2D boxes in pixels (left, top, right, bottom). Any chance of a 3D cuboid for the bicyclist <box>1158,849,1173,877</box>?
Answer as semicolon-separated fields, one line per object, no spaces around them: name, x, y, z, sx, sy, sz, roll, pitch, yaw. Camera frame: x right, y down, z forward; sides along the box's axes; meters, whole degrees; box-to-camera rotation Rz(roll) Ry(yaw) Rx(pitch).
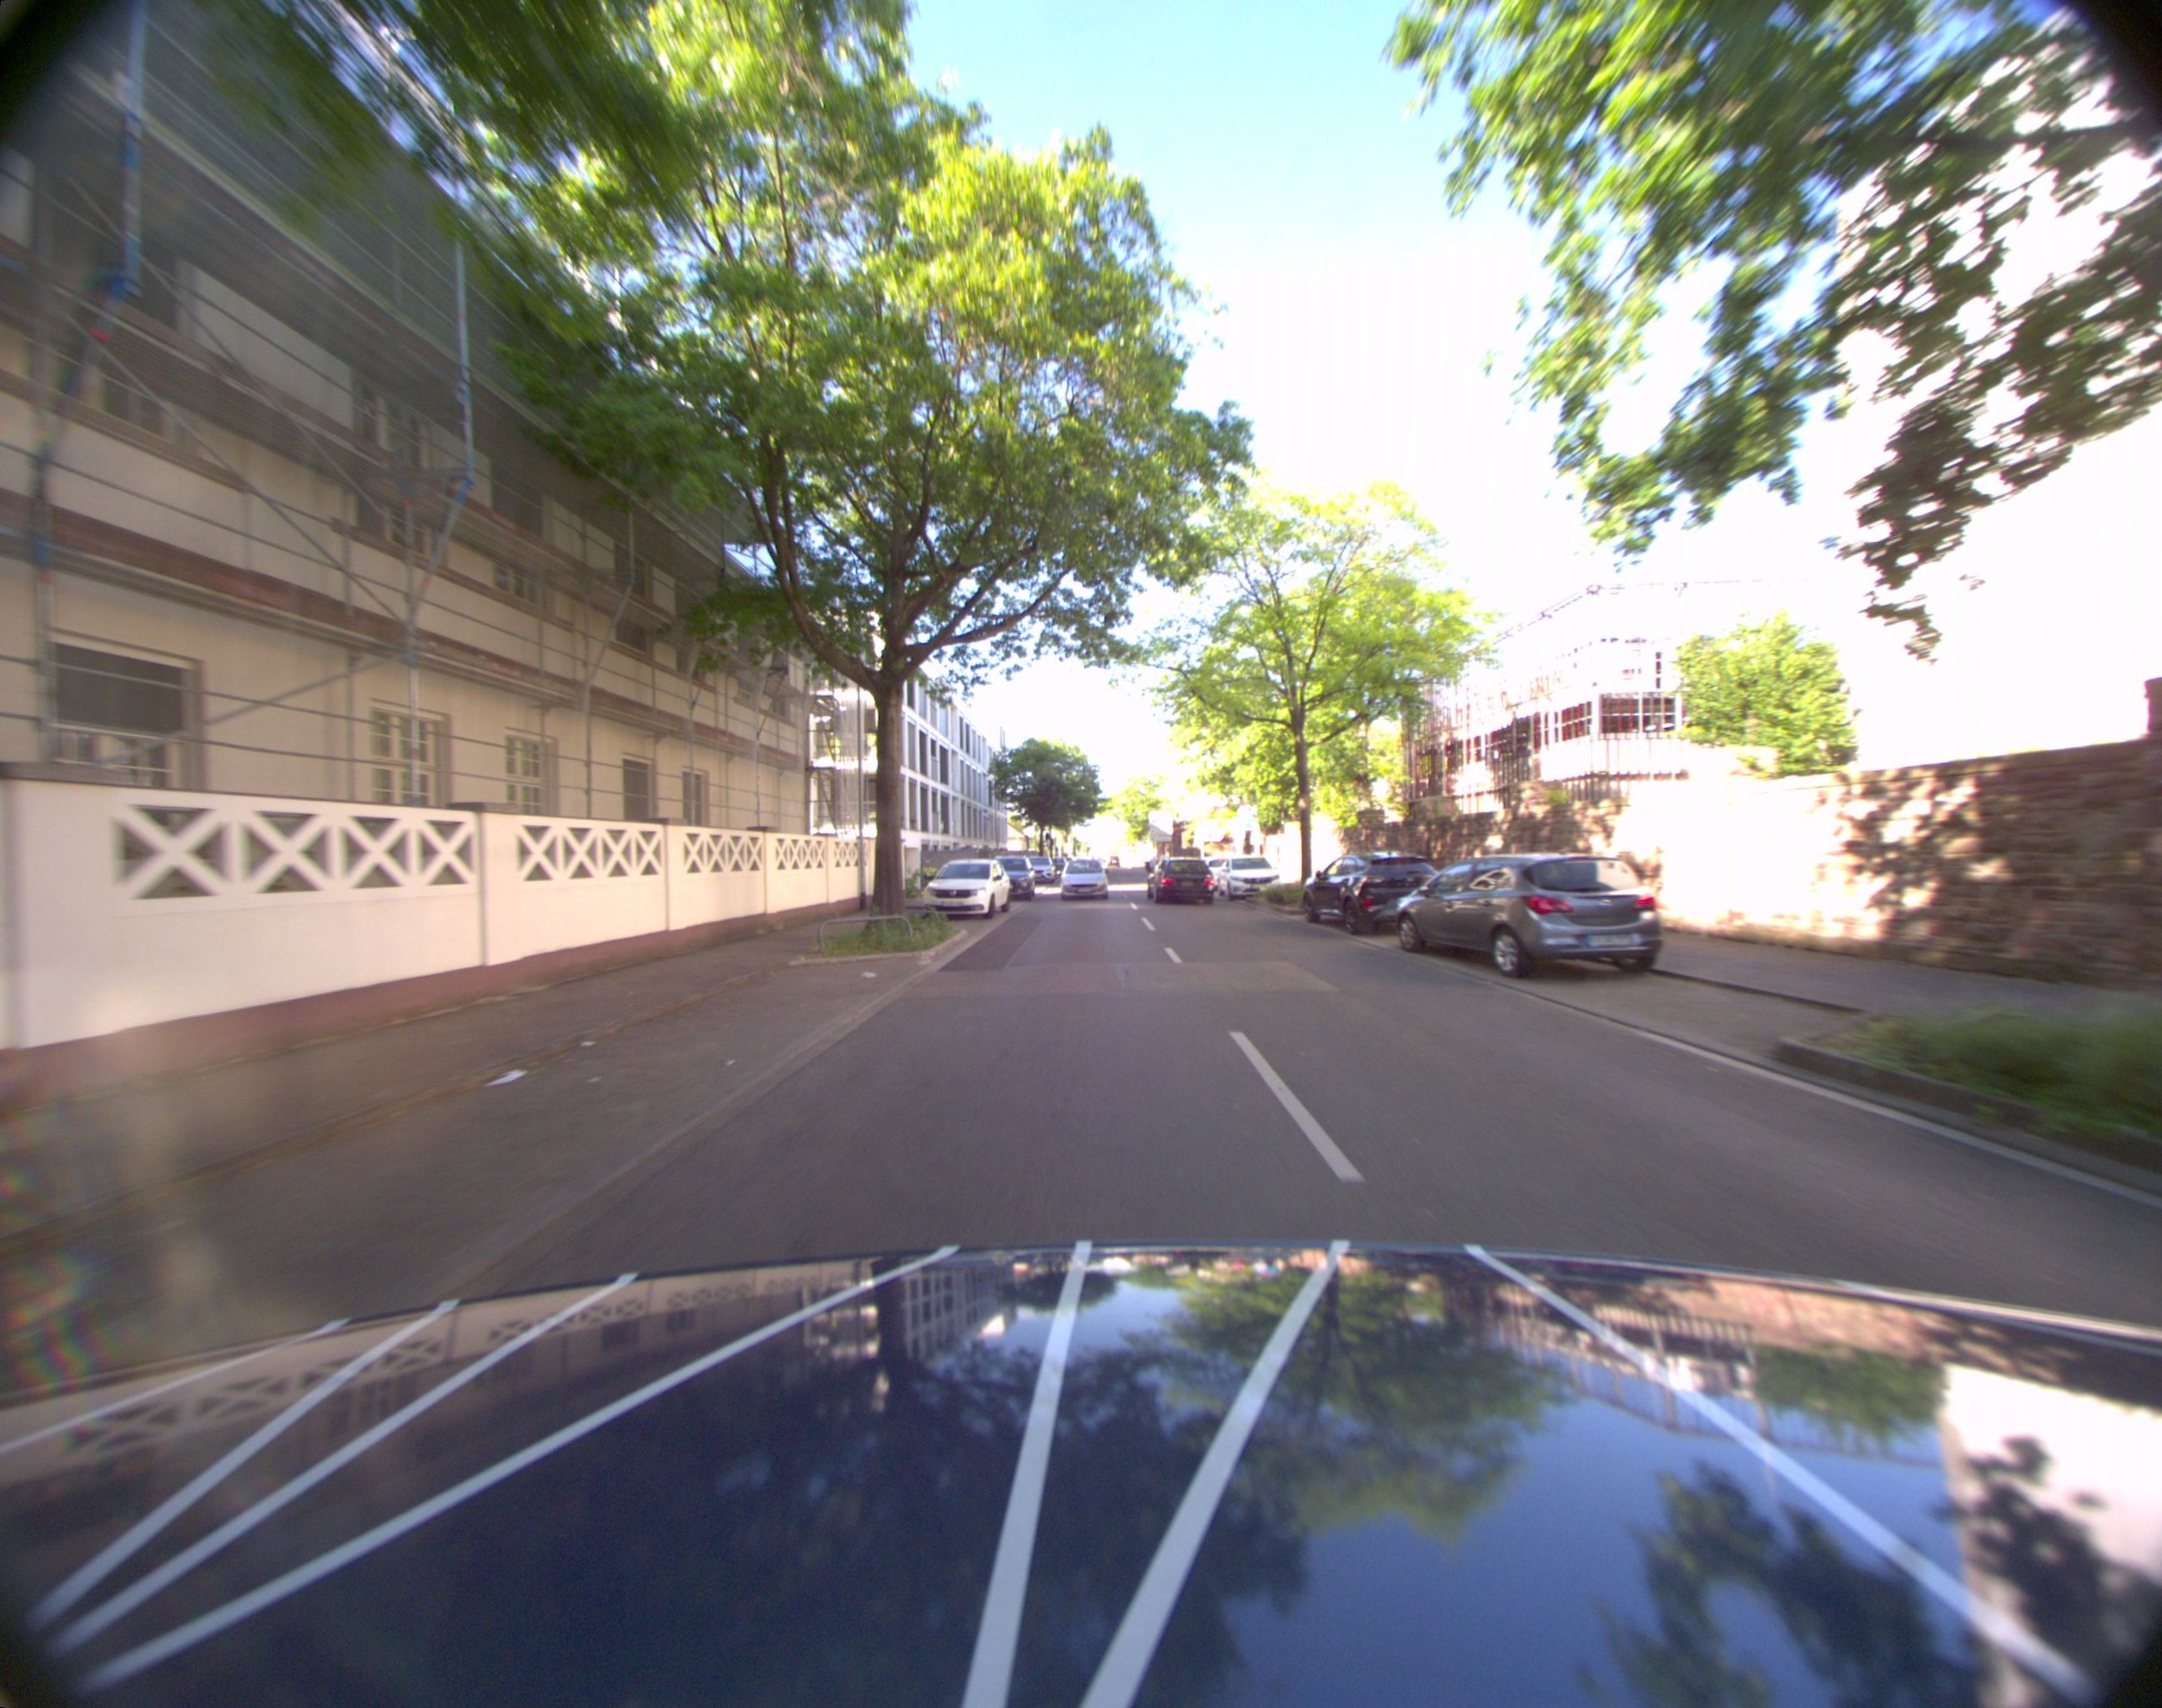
bicyclist;4.614;0.478;41.457;0.722;1.513;1.005;-3;1;4

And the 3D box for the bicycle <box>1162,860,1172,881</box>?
bicycle;4.666;0.887;41.376;0.358;1.114;1.866;-3;0;2

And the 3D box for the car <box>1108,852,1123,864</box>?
car;4.539;0.530;100.606;1.648;1.602;4.020;0;0;-1

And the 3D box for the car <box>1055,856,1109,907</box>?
car;0.109;0.955;28.340;1.747;1.613;4.106;-3;0;2

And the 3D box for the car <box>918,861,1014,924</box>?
car;-2.978;0.948;20.469;1.727;1.501;3.993;0;0;4

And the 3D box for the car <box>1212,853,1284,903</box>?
car;5.825;0.795;26.892;1.680;1.502;3.849;-4;0;2

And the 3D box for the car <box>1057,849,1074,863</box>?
car;-1.932;0.282;95.559;1.887;1.592;4.299;-5;0;2

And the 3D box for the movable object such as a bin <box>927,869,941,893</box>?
movable object such as a bin;-6.174;1.146;31.925;0.435;0.958;0.511;-3;1;5

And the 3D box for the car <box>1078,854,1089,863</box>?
car;0.467;0.817;133.961;1.757;1.459;3.486;-3;0;0

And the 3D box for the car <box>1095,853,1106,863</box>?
car;3.548;0.690;138.541;1.834;1.732;4.000;-3;0;1

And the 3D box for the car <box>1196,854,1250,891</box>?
car;6.119;0.750;33.188;1.578;1.394;3.750;-5;0;0

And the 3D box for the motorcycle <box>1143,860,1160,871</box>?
motorcycle;6.869;1.082;73.560;0.599;1.026;2.132;-1;0;35

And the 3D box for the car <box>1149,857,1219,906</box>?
car;3.270;0.827;24.833;1.826;1.427;3.969;1;0;1

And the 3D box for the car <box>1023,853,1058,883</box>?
car;-2.347;0.814;44.884;1.797;1.606;4.126;-2;0;0

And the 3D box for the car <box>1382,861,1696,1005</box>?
car;5.756;0.874;10.177;1.691;1.413;3.837;-3;0;-3

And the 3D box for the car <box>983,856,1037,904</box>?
car;-2.642;0.928;29.159;1.716;1.629;4.302;-1;0;-1

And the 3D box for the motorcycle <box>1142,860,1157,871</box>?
motorcycle;6.878;1.116;76.092;0.530;1.033;2.095;-2;0;32

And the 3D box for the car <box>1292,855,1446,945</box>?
car;5.615;0.805;15.352;1.577;1.506;4.044;-2;0;0

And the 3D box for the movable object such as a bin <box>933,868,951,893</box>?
movable object such as a bin;-5.929;1.118;32.472;0.599;1.021;0.564;-3;1;5
